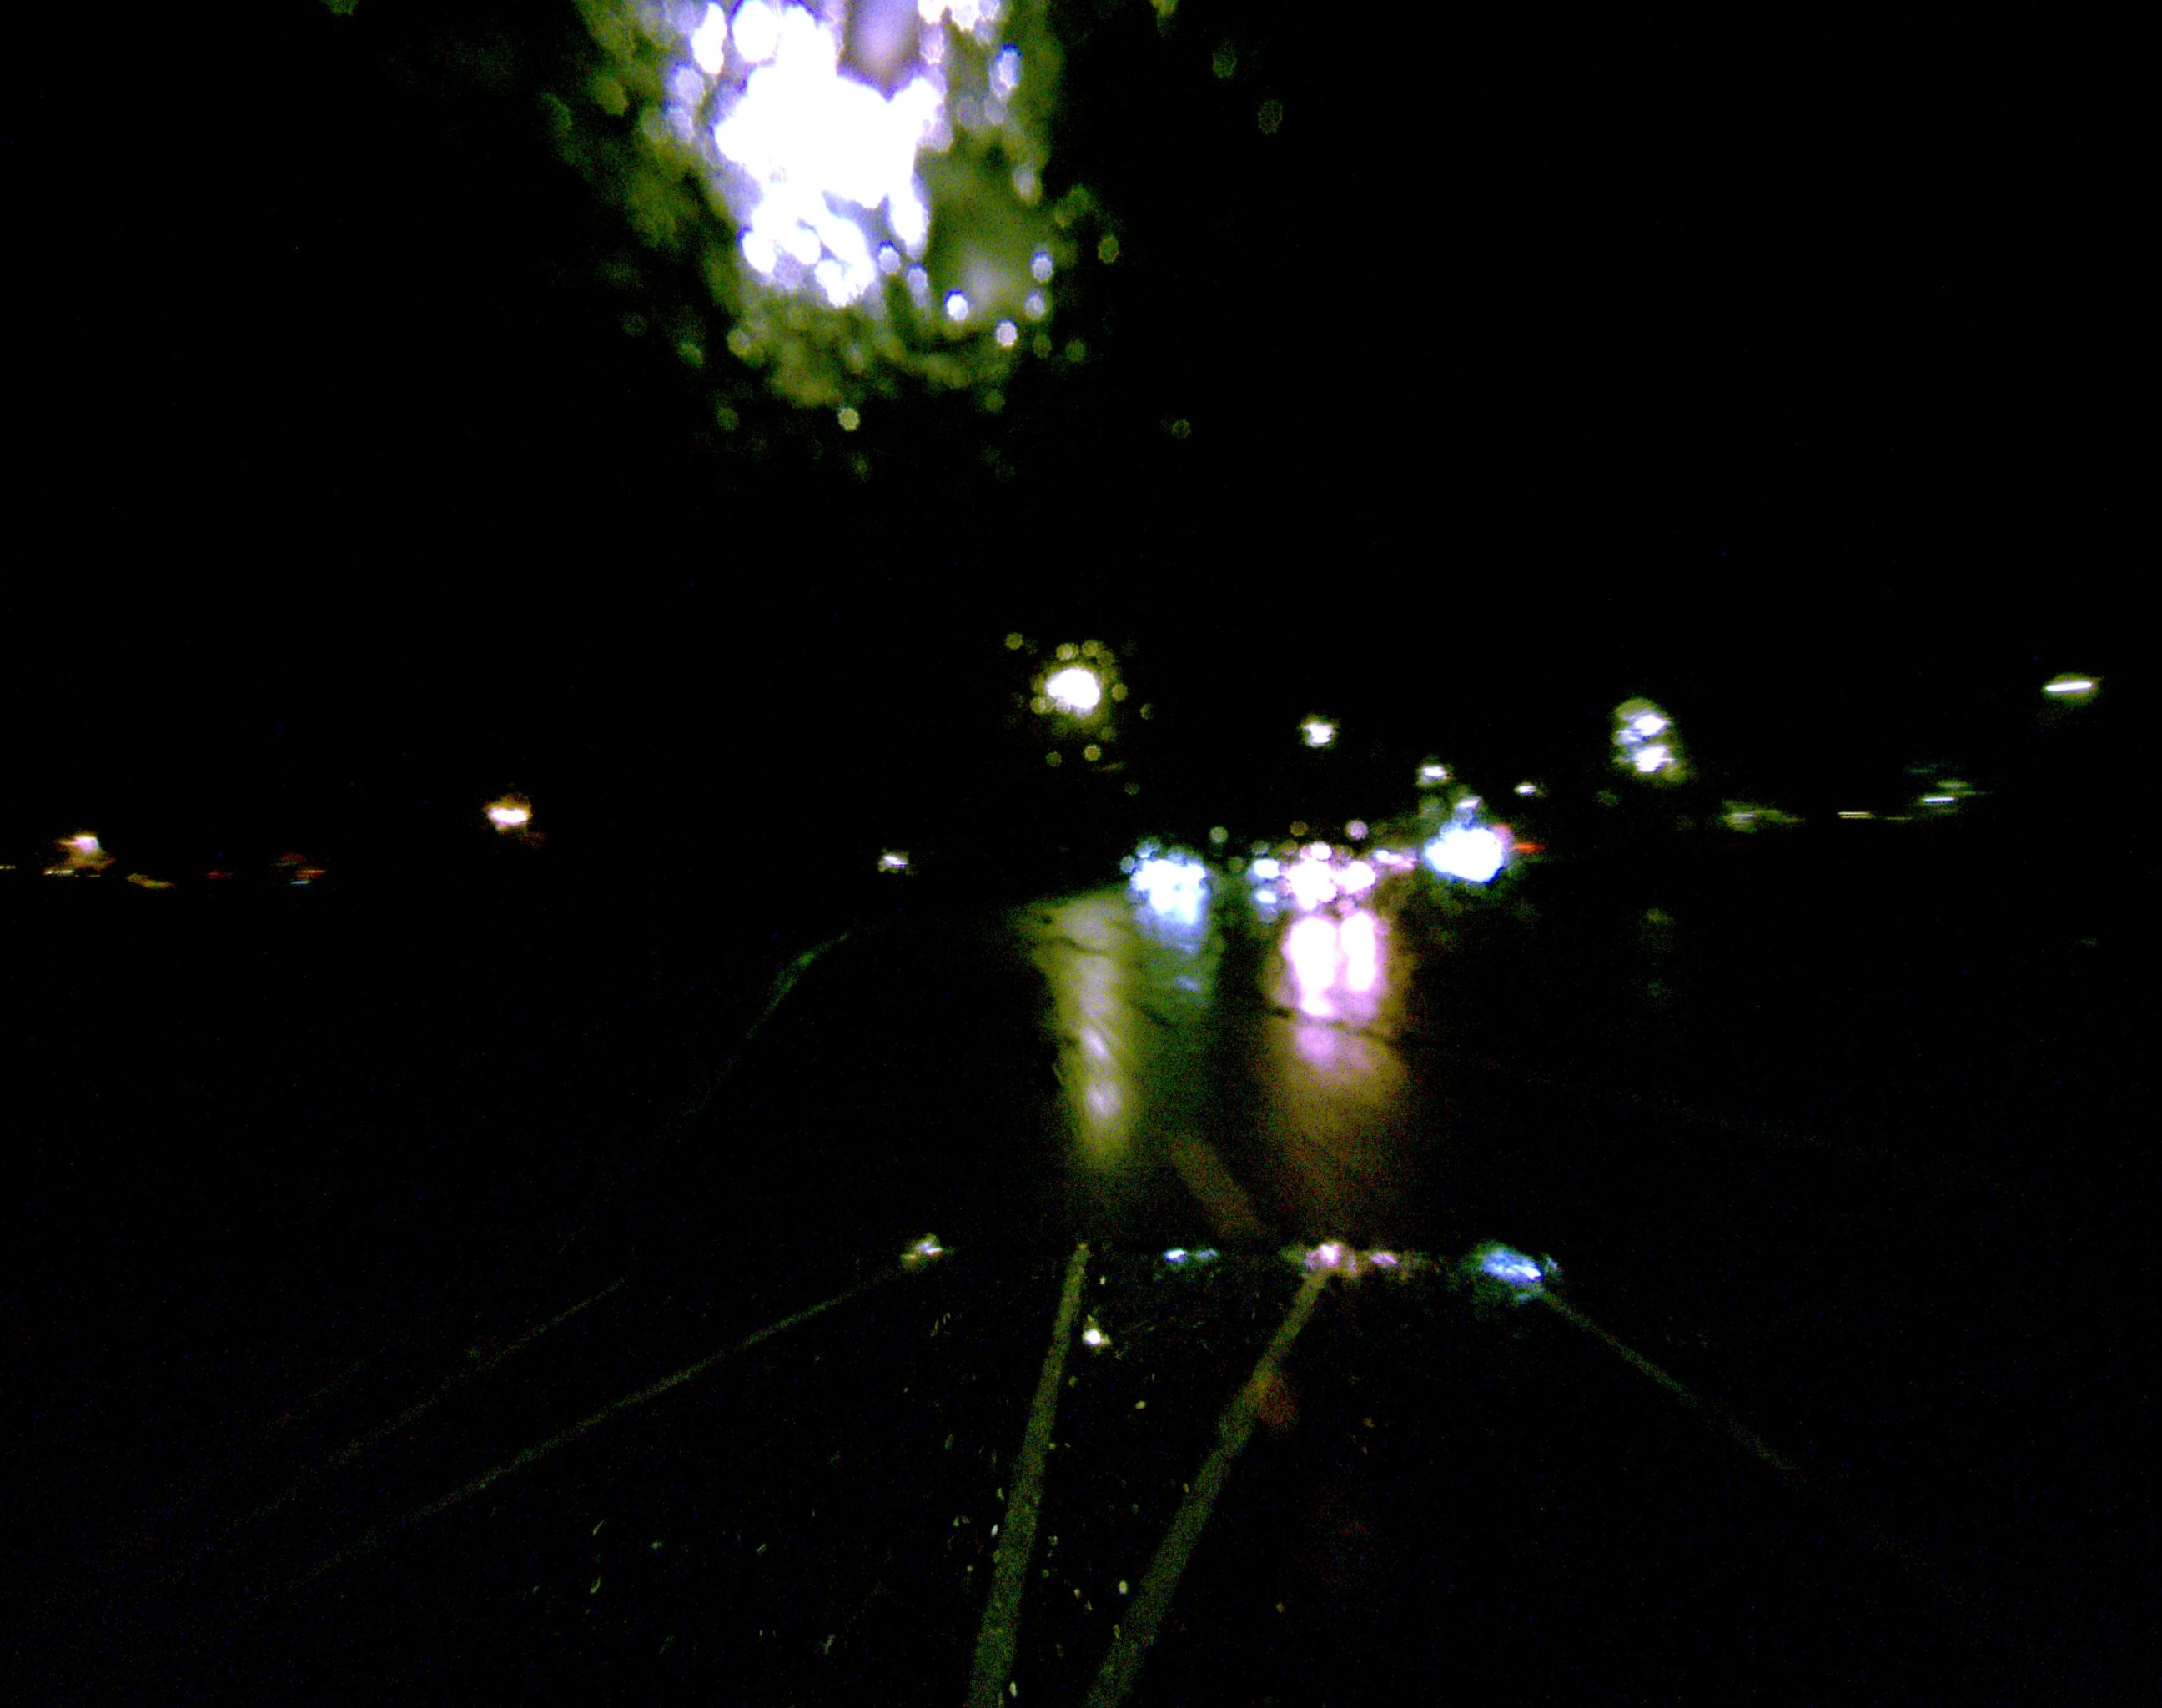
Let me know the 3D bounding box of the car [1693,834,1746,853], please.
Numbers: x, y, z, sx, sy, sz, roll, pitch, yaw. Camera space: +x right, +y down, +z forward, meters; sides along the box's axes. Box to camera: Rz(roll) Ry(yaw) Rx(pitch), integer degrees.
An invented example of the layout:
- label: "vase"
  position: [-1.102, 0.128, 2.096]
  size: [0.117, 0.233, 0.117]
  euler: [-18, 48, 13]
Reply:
- label: "car"
  position: [57.774, -0.927, 68.877]
  size: [1.771, 1.608, 3.875]
  euler: [-3, -1, 6]

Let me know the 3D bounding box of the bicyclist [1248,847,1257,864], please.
- label: "bicyclist"
  position: [14.686, 0.125, 64.997]
  size: [0.605, 1.438, 0.617]
  euler: [-3, 0, 6]

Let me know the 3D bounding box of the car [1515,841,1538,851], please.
- label: "car"
  position: [67.694, -1.232, 115.444]
  size: [1.827, 1.364, 3.952]
  euler: [-4, -1, 13]

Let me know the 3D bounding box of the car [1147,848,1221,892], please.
- label: "car"
  position: [4.642, 0.642, 33.656]
  size: [1.947, 1.709, 4.449]
  euler: [-4, -1, 25]

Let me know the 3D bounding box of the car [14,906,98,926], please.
- label: "car"
  position: [-89.293, 5.384, 66.262]
  size: [1.717, 1.366, 4.157]
  euler: [-4, -1, 42]

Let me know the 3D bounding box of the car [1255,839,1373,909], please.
- label: "car"
  position: [5.912, 0.484, 19.911]
  size: [1.833, 1.517, 4.876]
  euler: [-3, -1, 4]

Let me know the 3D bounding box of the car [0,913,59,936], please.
- label: "car"
  position: [-82.001, 5.475, 57.744]
  size: [1.717, 1.527, 5.005]
  euler: [-4, -1, 42]

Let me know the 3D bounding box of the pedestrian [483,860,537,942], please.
- label: "pedestrian"
  position: [-13.645, 1.111, 18.175]
  size: [0.652, 1.890, 0.730]
  euler: [-3, 0, 26]

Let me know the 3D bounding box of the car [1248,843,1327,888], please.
- label: "car"
  position: [8.879, 0.439, 32.454]
  size: [1.830, 1.696, 4.202]
  euler: [-4, -1, 35]

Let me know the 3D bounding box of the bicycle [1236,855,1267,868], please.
- label: "bicycle"
  position: [14.590, 0.660, 65.020]
  size: [2.419, 0.971, 0.622]
  euler: [-3, 0, 6]

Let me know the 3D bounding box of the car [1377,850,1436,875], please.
- label: "car"
  position: [24.745, 0.666, 57.783]
  size: [3.953, 1.612, 1.948]
  euler: [-3, -1, -27]
